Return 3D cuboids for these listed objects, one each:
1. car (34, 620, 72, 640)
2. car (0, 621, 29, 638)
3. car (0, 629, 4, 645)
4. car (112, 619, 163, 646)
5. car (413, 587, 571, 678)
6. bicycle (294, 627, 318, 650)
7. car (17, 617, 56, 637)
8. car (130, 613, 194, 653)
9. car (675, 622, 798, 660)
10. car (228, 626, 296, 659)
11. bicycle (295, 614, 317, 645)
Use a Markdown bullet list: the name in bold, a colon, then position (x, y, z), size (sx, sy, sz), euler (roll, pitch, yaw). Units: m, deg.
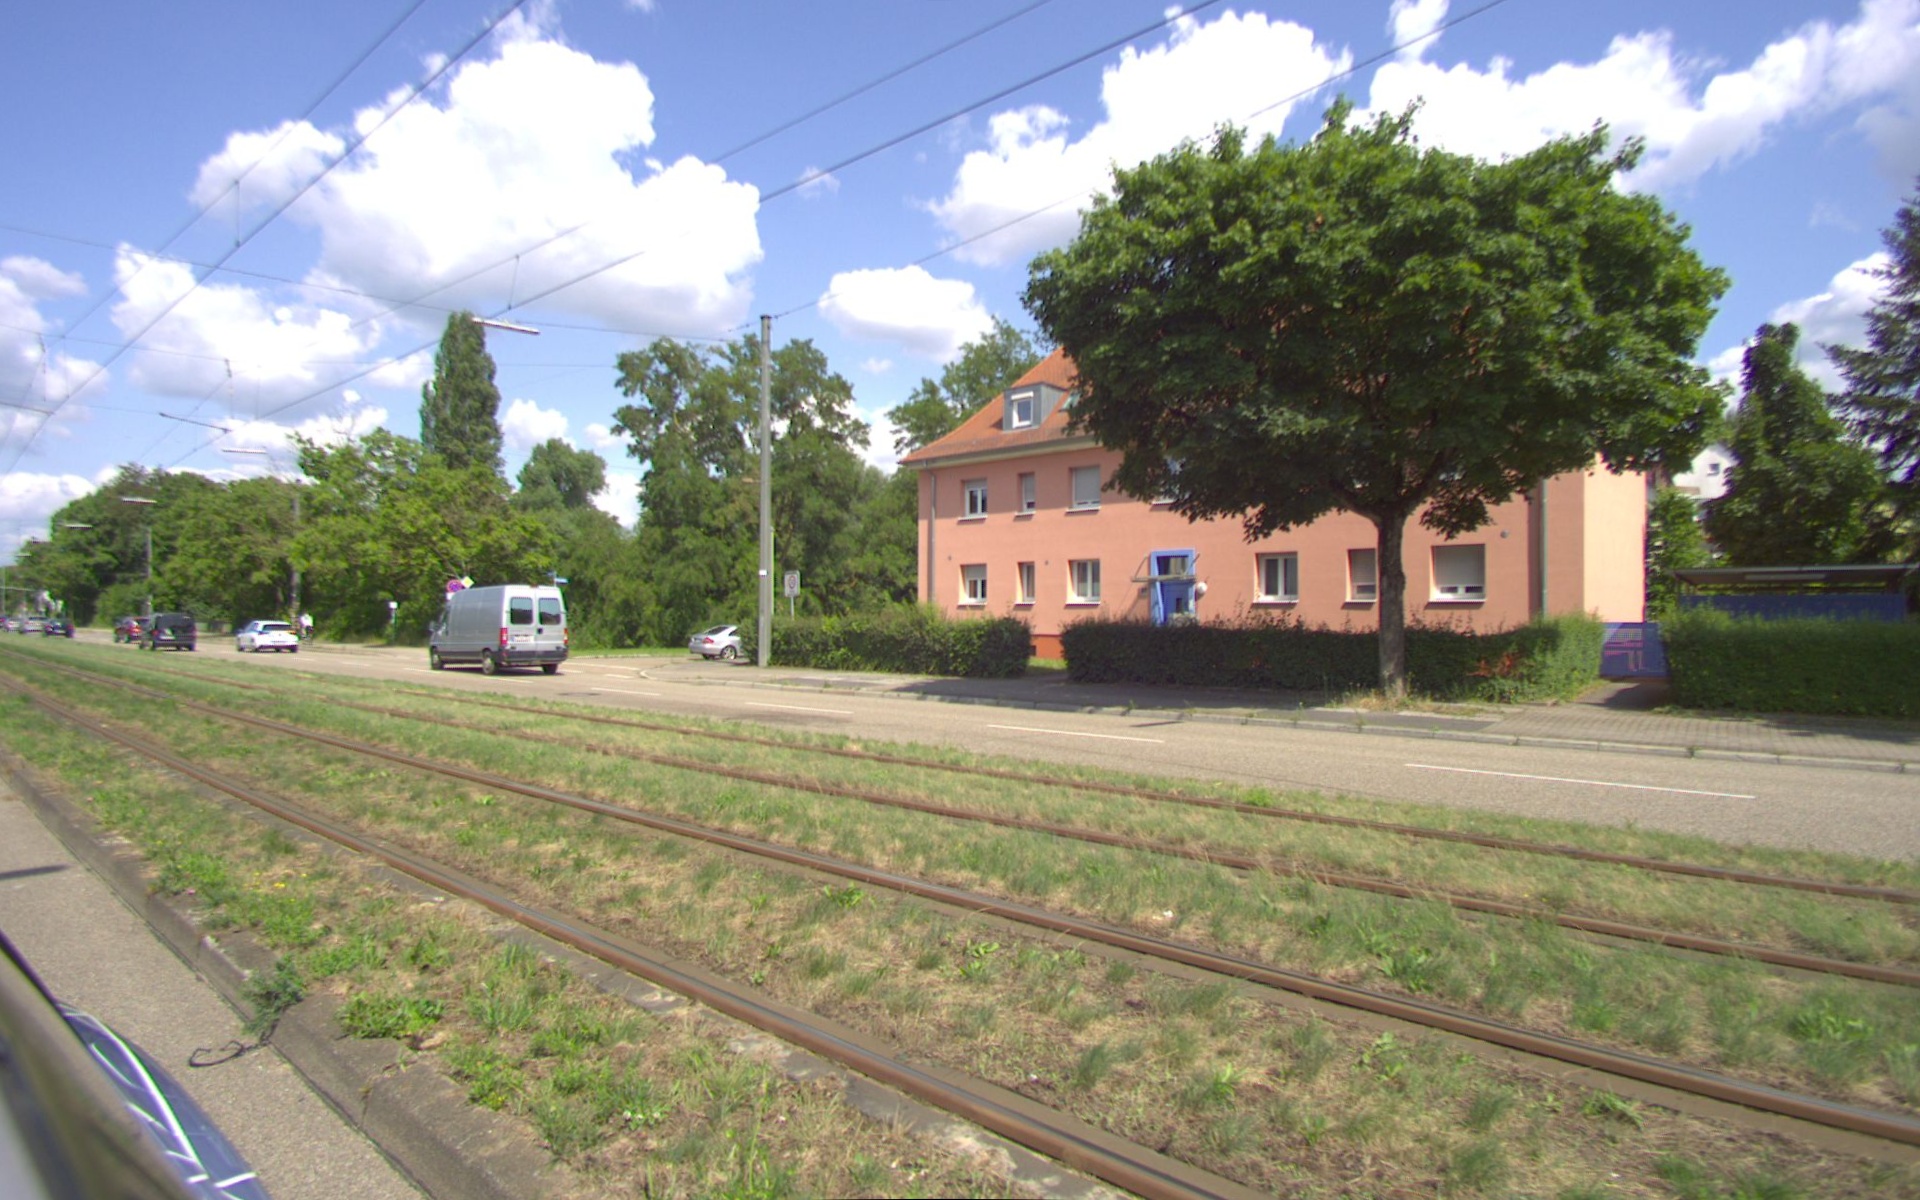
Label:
- **car**: position (-66.141, 2.196, 73.773), size (4.277, 1.405, 1.708), euler (-1, -2, 43)
- **car**: position (-92.404, 2.880, 98.760), size (4.277, 1.664, 1.896), euler (-1, -2, 43)
- **car**: position (-105.972, 4.022, 110.509), size (4.277, 1.664, 2.092), euler (-1, -2, 43)
- **car**: position (-50.536, 1.975, 62.158), size (4.274, 1.591, 1.709), euler (-1, -2, 41)
- **car**: position (-13.862, 0.950, 29.779), size (5.775, 2.455, 2.010), euler (-1, -3, 42)
- **bicycle**: position (-35.884, 2.097, 55.536), size (1.957, 1.197, 0.634), euler (-1, -2, 43)
- **car**: position (-78.862, 2.317, 86.398), size (4.277, 1.664, 2.092), euler (-1, -2, 43)
- **car**: position (-37.224, 1.503, 47.169), size (4.226, 1.760, 1.667), euler (-1, -2, 42)
- **car**: position (-8.946, 1.618, 40.718), size (4.402, 1.416, 2.003), euler (1, -1, -41)
- **car**: position (-32.553, 1.933, 47.182), size (4.275, 1.442, 1.667), euler (-1, -2, 42)
- **bicycle**: position (-35.873, 1.594, 55.534), size (0.952, 1.697, 0.790), euler (-1, -2, 42)
